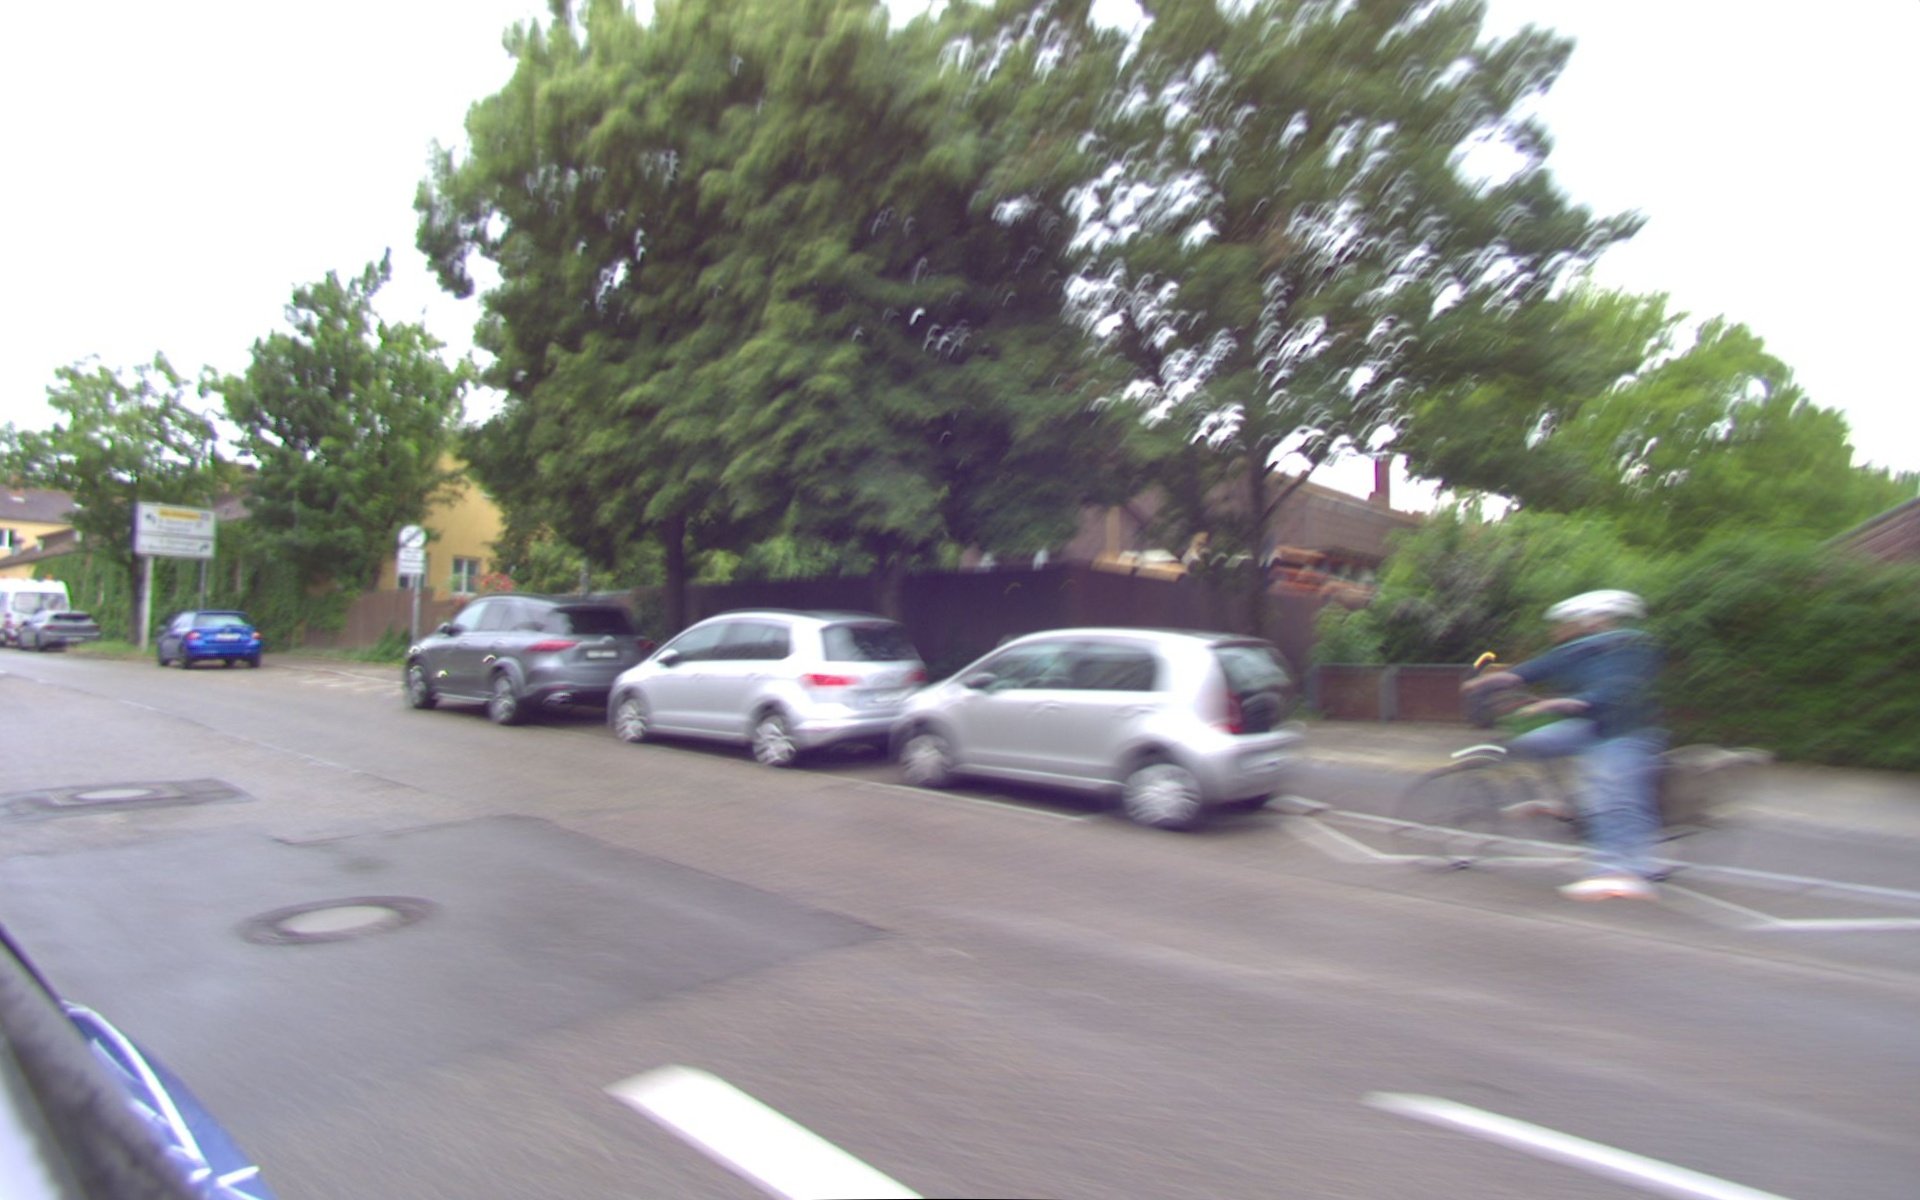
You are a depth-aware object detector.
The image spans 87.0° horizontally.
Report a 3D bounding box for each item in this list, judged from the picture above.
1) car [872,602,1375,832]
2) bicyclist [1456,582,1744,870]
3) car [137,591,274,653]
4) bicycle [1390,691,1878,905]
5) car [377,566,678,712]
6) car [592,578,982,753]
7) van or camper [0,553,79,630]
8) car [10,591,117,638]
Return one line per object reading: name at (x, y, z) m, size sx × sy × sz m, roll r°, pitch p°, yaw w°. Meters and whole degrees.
car at (1.258, 0.807, 8.655) m, size 3.846 × 1.474 × 1.859 m, roll 1°, pitch -2°, yaw 42°
bicyclist at (3.717, 0.690, 5.983) m, size 1.188 × 1.534 × 0.801 m, roll 1°, pitch -1°, yaw 8°
car at (-19.733, 0.555, 26.405) m, size 4.183 × 1.481 × 1.973 m, roll 1°, pitch -2°, yaw 41°
bicycle at (3.825, 1.100, 5.954) m, size 2.229 × 0.986 × 0.802 m, roll 1°, pitch -1°, yaw 10°
car at (-6.564, 0.493, 14.994) m, size 5.409 × 1.800 × 1.972 m, roll 1°, pitch -2°, yaw 42°
car at (-2.103, 0.616, 11.498) m, size 4.488 × 1.605 × 1.969 m, roll 1°, pitch -2°, yaw 41°
van or camper at (-36.966, -0.286, 39.591) m, size 6.128 × 2.786 × 2.320 m, roll 0°, pitch -2°, yaw 35°
car at (-31.919, 0.507, 36.003) m, size 4.415 × 1.524 × 1.975 m, roll 1°, pitch -2°, yaw 37°
